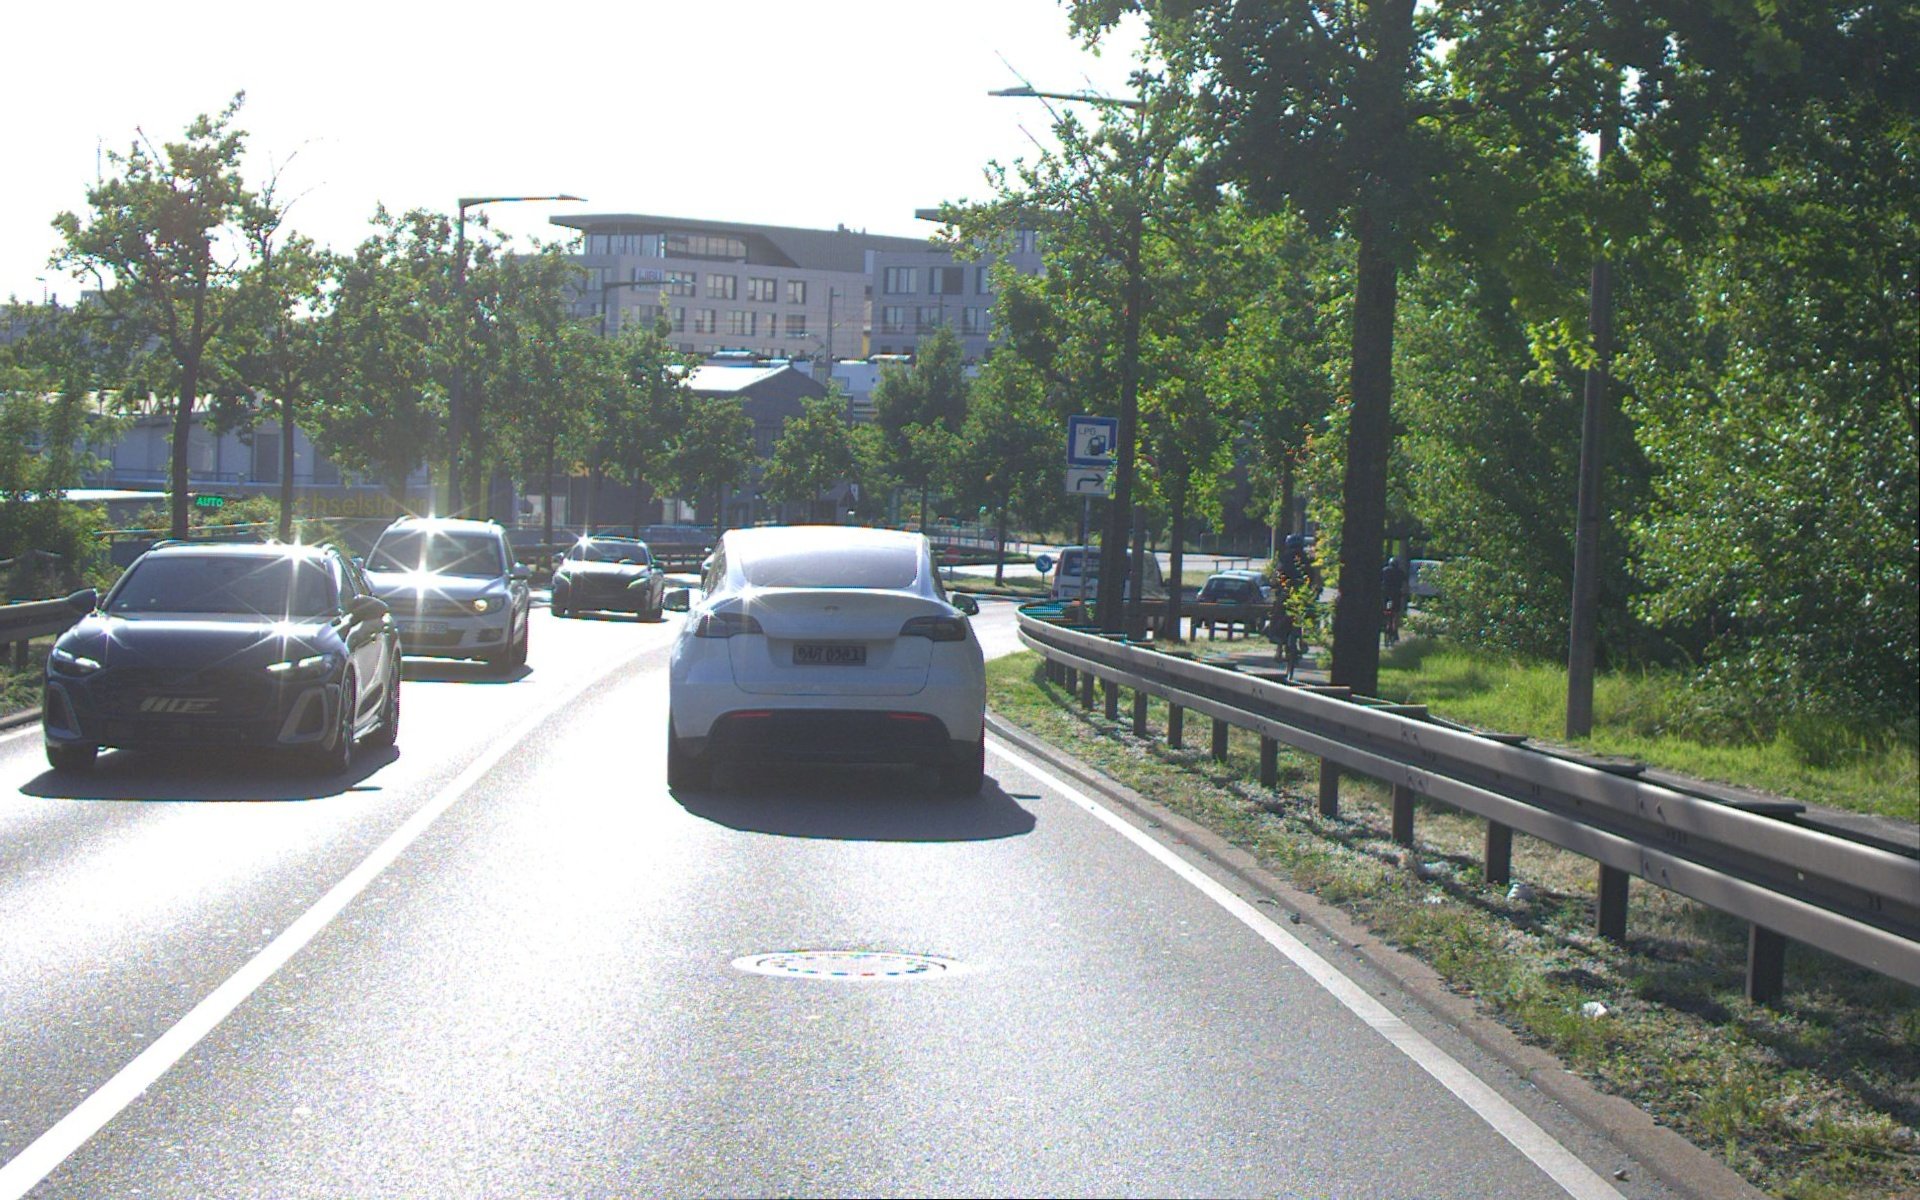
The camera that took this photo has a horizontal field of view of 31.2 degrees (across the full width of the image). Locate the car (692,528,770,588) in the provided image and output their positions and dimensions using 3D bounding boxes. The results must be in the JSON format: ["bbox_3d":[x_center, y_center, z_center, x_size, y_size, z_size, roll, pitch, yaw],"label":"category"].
[{"bbox_3d":[-5.955,-1.120,89.894,1.809,1.491,4.369,1,1,-1],"label":"car"}]

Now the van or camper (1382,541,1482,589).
[{"bbox_3d":[19.003,-1.404,138.254,1.830,1.784,4.535,6,4,38],"label":"van or camper"}]

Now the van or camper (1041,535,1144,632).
[{"bbox_3d":[2.773,-0.369,71.197,1.958,1.877,4.879,1,1,4],"label":"van or camper"}]

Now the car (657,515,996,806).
[{"bbox_3d":[-0.953,0.300,21.943,1.914,1.635,4.411,1,1,-5],"label":"car"}]

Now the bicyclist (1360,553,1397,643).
[{"bbox_3d":[8.364,-0.046,68.713,0.675,1.770,0.948,1,1,8],"label":"bicyclist"}]

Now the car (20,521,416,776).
[{"bbox_3d":[-4.817,0.236,22.964,1.849,1.486,4.717,1,1,-3],"label":"car"}]

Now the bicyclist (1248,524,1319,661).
[{"bbox_3d":[3.827,-0.079,40.590,0.707,1.573,1.004,1,-1,11],"label":"bicyclist"}]

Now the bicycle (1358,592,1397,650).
[{"bbox_3d":[8.358,0.408,68.770,0.695,1.091,2.117,1,1,8],"label":"bicycle"}]

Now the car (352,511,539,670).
[{"bbox_3d":[-5.687,-0.147,38.358,1.728,1.652,3.983,1,1,-4],"label":"car"}]

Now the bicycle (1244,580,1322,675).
[{"bbox_3d":[3.818,0.331,40.544,0.701,1.071,1.920,1,-1,11],"label":"bicycle"}]

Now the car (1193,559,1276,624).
[{"bbox_3d":[7.289,-0.245,91.091,1.605,1.429,3.677,4,4,12],"label":"car"}]

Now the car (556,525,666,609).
[{"bbox_3d":[-6.339,-0.628,62.809,1.691,1.436,4.217,1,1,-2],"label":"car"}]
